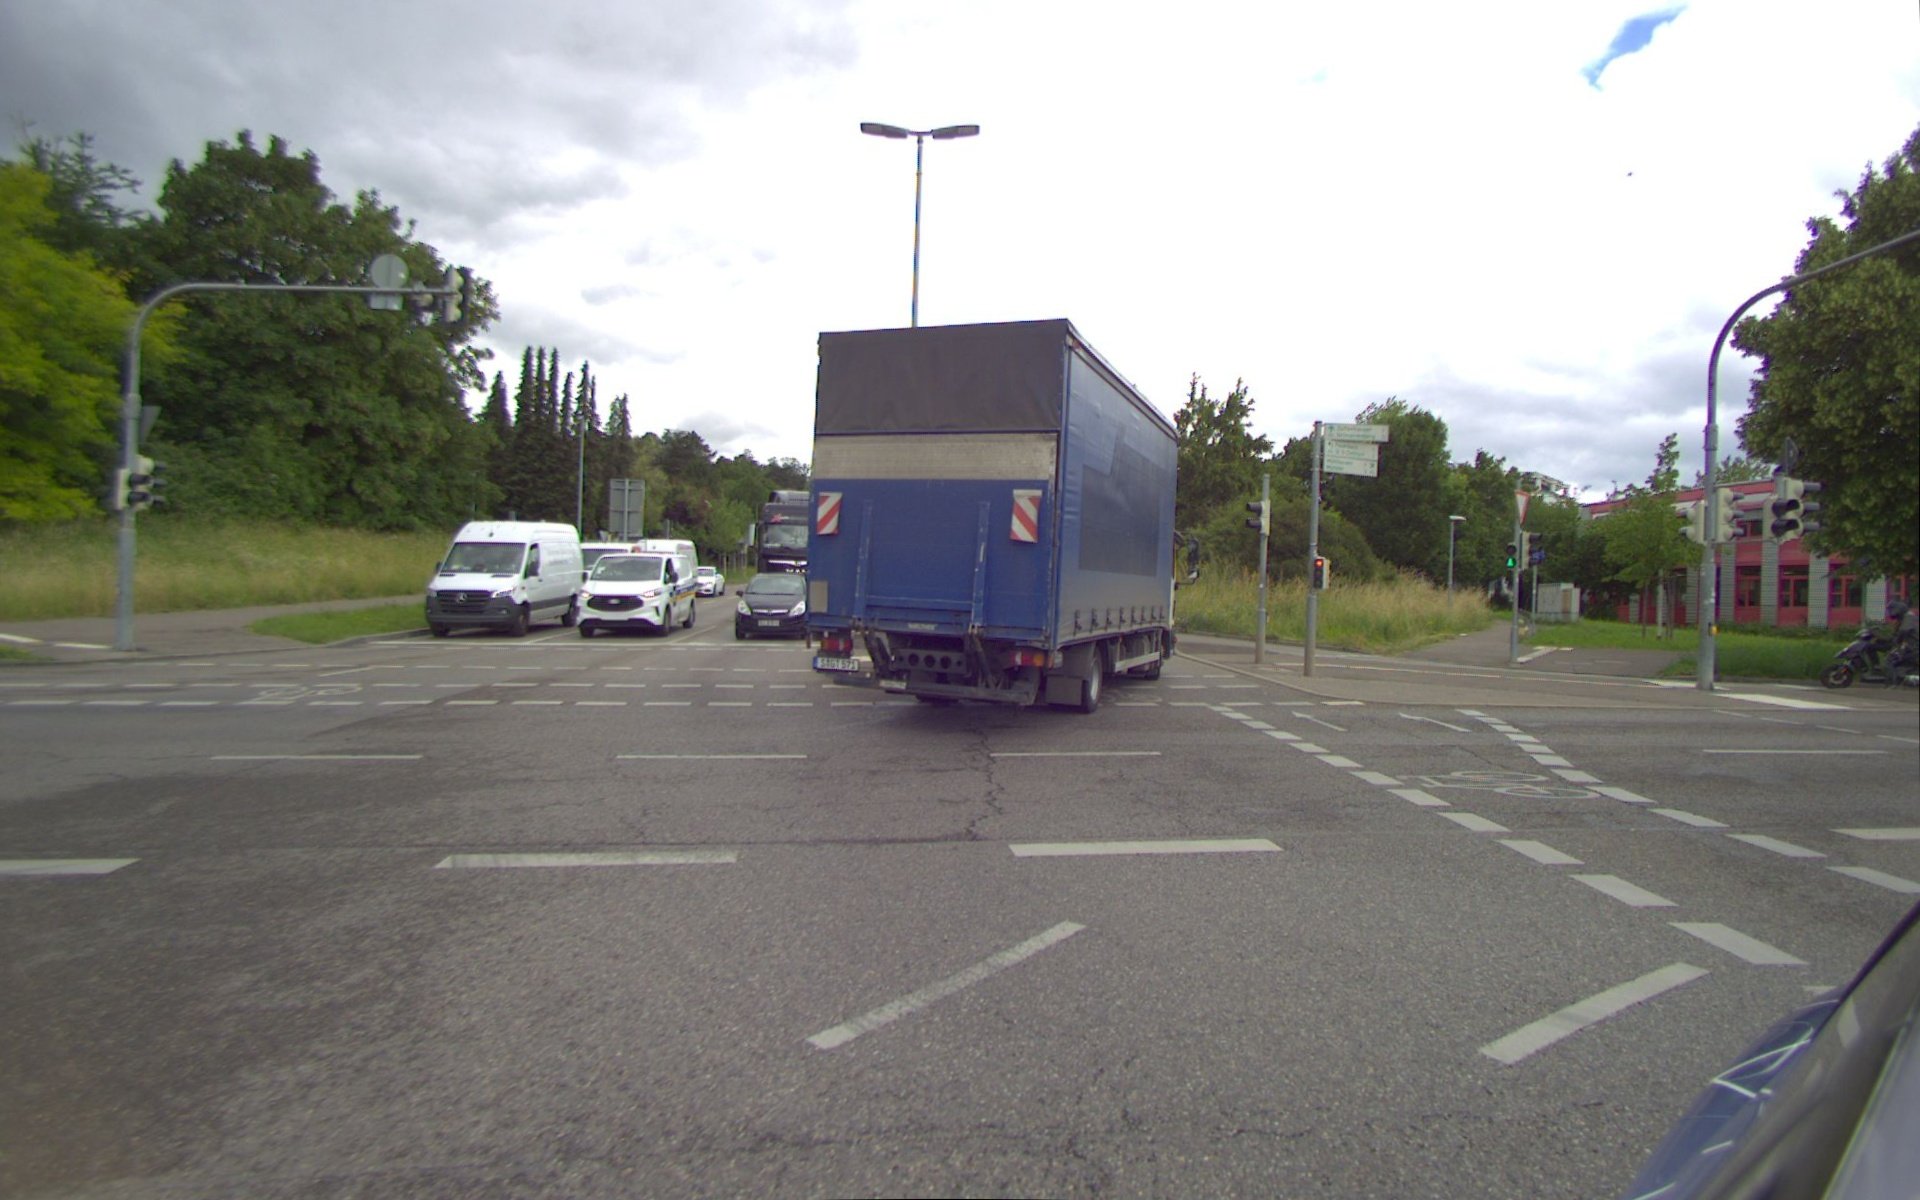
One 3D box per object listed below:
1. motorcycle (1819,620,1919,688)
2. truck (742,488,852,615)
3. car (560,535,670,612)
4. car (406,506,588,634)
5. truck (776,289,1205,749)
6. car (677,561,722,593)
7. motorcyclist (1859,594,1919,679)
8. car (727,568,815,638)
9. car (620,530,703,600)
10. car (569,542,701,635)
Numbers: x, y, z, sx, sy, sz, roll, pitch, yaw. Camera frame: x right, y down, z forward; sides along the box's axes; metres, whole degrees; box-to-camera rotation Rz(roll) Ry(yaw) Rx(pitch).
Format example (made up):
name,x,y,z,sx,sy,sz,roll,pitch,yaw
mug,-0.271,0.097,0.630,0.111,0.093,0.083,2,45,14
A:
name,x,y,z,sx,sy,sz,roll,pitch,yaw
motorcycle,16.592,0.960,17.842,2.050,1.104,0.752,2,0,28
truck,-4.929,-1.457,31.594,3.013,3.561,5.969,0,2,-6
car,-11.663,-0.914,34.700,2.184,2.415,5.967,0,2,-4
car,-10.868,-0.719,24.367,2.183,2.691,5.969,0,2,-6
truck,1.091,-0.773,12.891,2.755,3.851,8.329,2,1,22
car,-12.743,-1.126,49.706,1.619,1.474,3.872,1,1,-7
motorcyclist,16.550,0.631,17.870,0.809,1.439,0.752,2,0,27
car,-4.318,0.011,23.590,1.603,1.460,3.871,1,1,-5
car,-12.705,-1.503,43.547,2.183,2.754,6.695,0,2,-5
car,-7.696,-0.324,24.467,2.078,2.015,4.995,-1,2,-6
